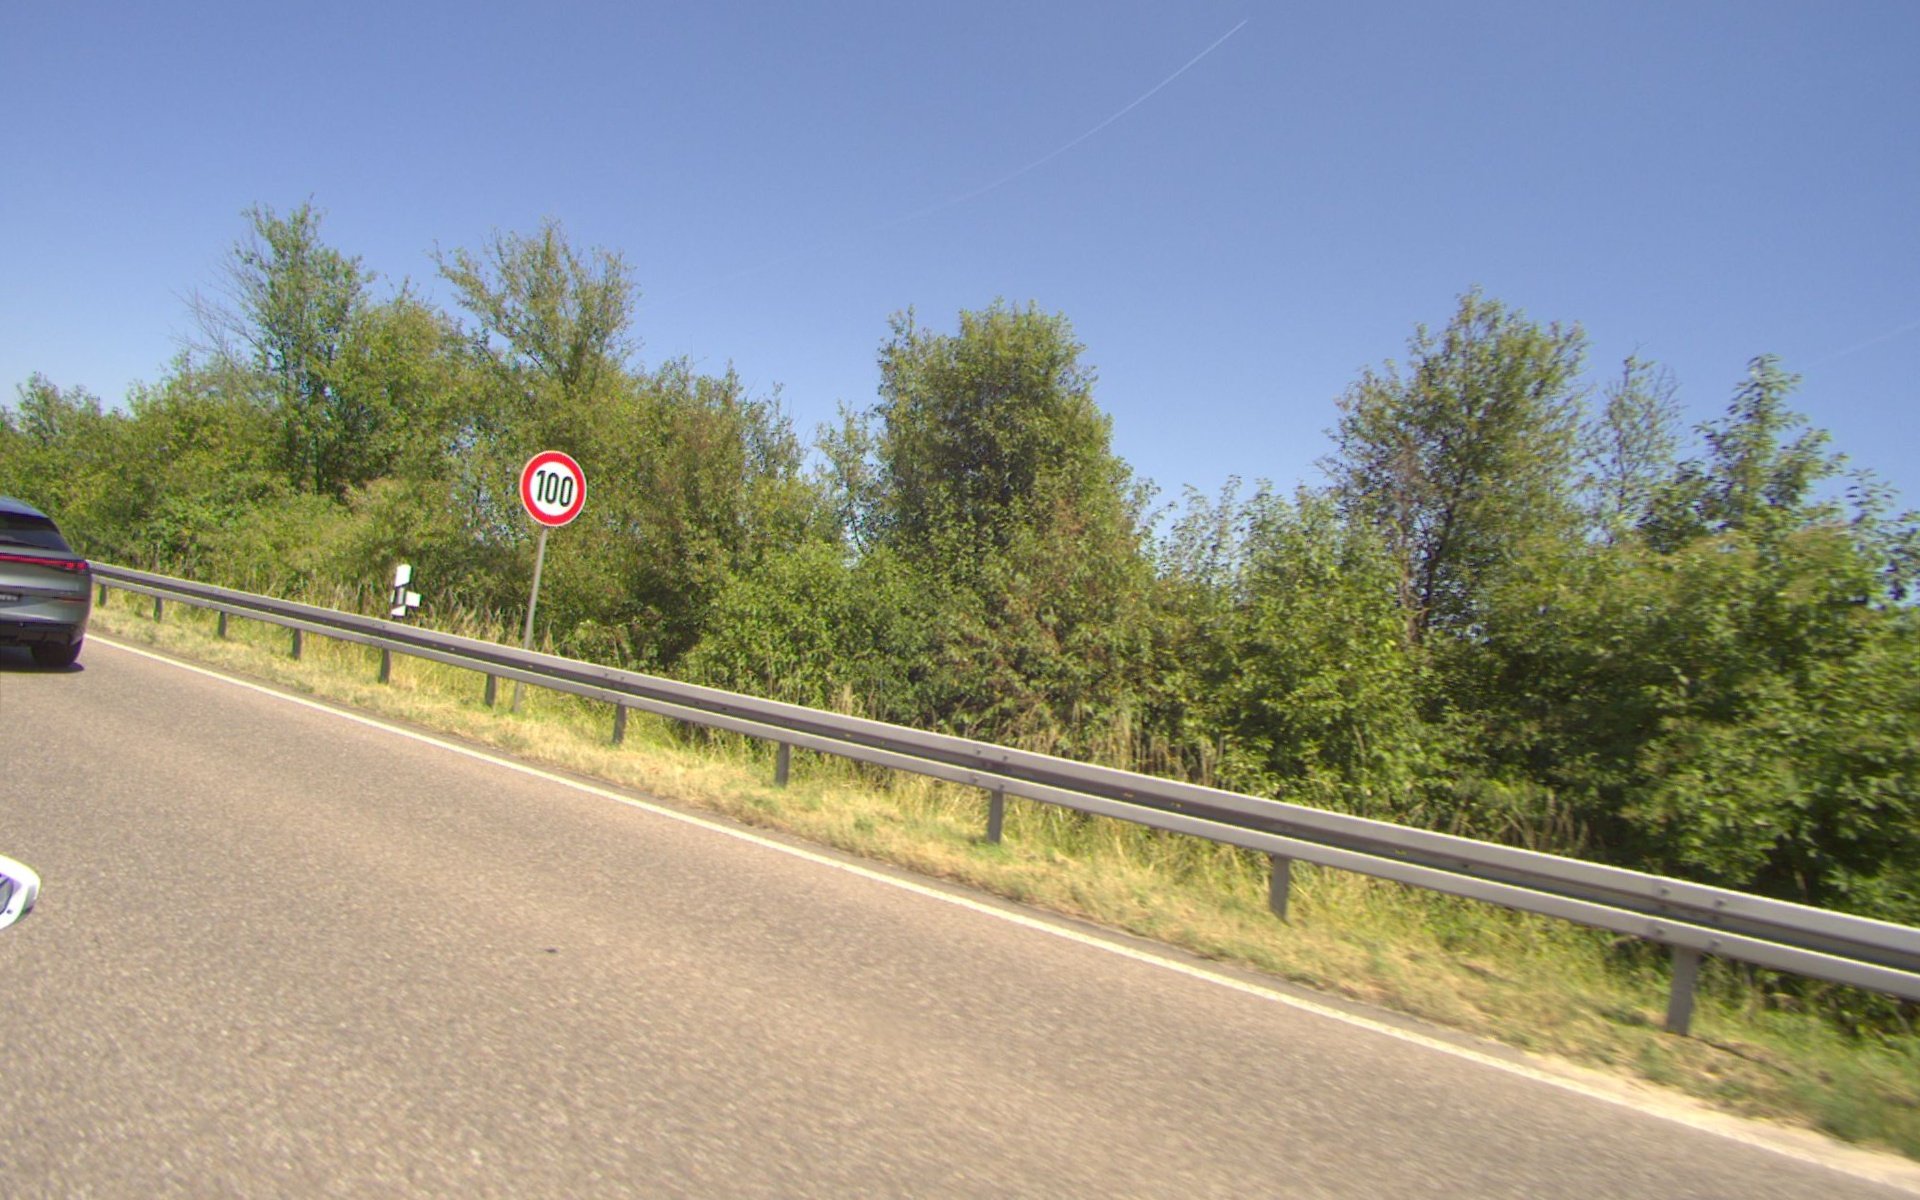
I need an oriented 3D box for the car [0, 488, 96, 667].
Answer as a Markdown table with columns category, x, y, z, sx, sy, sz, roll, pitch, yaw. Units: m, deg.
| category | x | y | z | sx | sy | sz | roll | pitch | yaw |
| --- | --- | --- | --- | --- | --- | --- | --- | --- | --- |
| car | -10.440 | -0.452 | 9.788 | 3.951 | 1.571 | 1.789 | 8 | -1 | 31 |
